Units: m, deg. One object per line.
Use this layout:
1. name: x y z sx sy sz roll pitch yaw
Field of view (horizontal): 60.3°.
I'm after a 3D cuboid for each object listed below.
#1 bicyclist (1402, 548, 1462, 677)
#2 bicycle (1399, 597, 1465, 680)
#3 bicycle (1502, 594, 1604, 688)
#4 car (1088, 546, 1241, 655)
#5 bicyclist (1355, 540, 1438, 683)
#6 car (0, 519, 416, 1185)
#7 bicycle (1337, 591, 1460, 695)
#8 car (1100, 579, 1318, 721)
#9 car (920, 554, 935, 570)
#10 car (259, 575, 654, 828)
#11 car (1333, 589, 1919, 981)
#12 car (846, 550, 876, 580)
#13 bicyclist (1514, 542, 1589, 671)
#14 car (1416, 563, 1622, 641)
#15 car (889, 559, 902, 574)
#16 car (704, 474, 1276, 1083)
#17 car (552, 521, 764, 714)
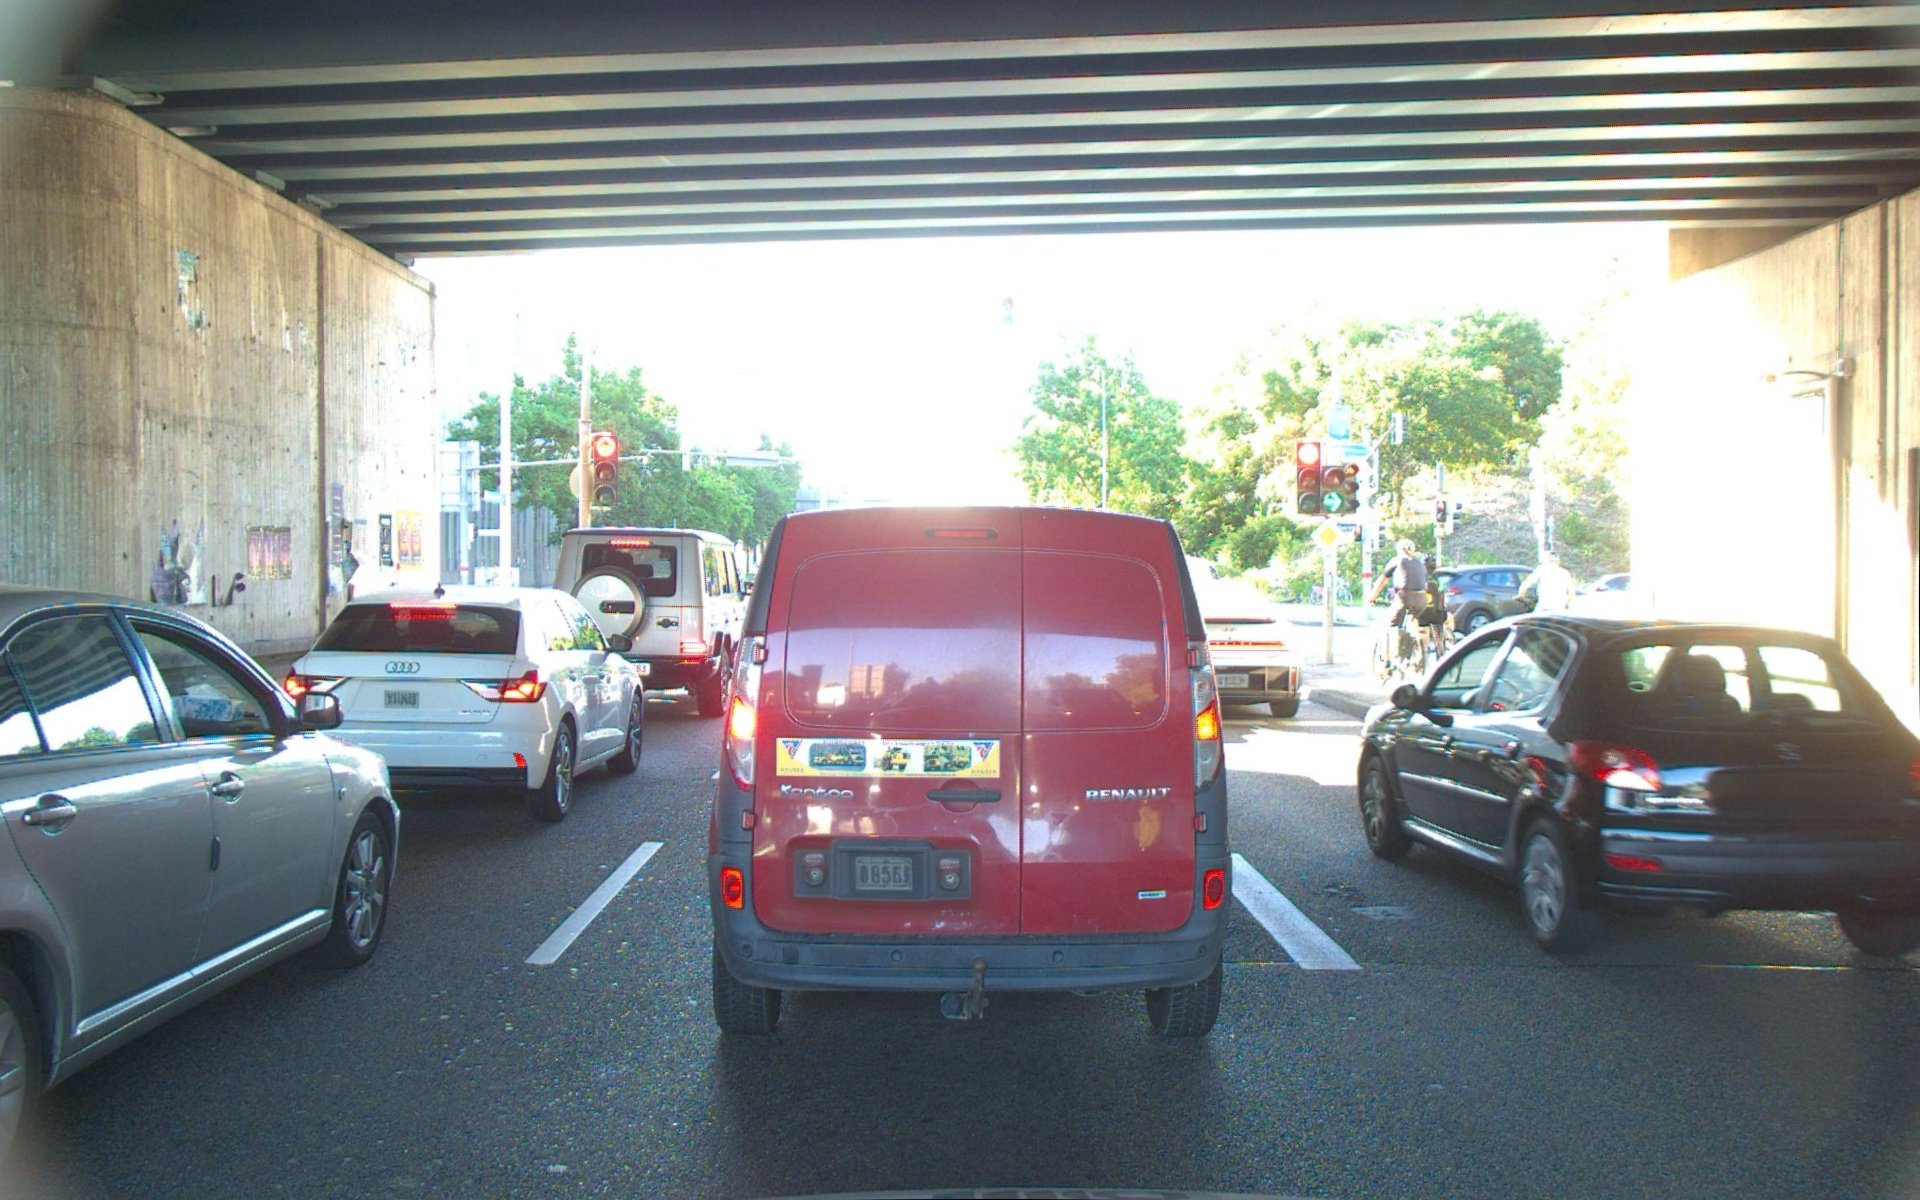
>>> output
1. bicyclist: 6.214 0.163 21.811 0.663 1.657 0.644 1 0 10
2. bicycle: 6.223 0.489 21.861 0.662 1.042 1.530 1 0 10
3. bicycle: 7.398 0.495 20.696 0.667 1.132 1.603 0 0 -2
4. car: 3.896 -0.032 30.931 1.776 1.865 4.300 1 1 22
5. bicyclist: 5.282 0.136 20.049 0.731 1.684 0.886 1 0 -2
6. car: -2.974 0.543 4.431 1.662 1.480 4.397 1 0 -2
7. bicycle: 5.299 0.487 20.163 0.750 1.166 2.469 -2 0 -2
8. car: 2.836 0.519 19.850 1.711 1.481 4.662 1 0 -3
9. car: -4.310 -5.063 220.582 1.953 2.049 3.999 1 0 -1
10. car: -3.242 0.572 11.414 1.658 1.435 3.812 1 0 -2
11. car: 3.221 0.703 8.188 1.711 1.481 3.714 1 0 -3
12. car: -7.191 -2.552 120.771 1.953 2.049 3.999 1 0 -1
13. bicyclist: 7.397 0.082 20.712 0.656 1.589 0.735 0 0 -2
14. car: 12.432 0.020 36.876 4.023 1.650 1.805 -1 1 -12
15. car: -9.436 -4.901 242.732 1.712 2.049 3.843 1 0 -1
16. car: 0.064 0.523 6.939 1.684 1.795 3.999 1 0 -1
17. car: -3.305 0.168 18.779 1.777 1.937 3.812 1 0 -2
